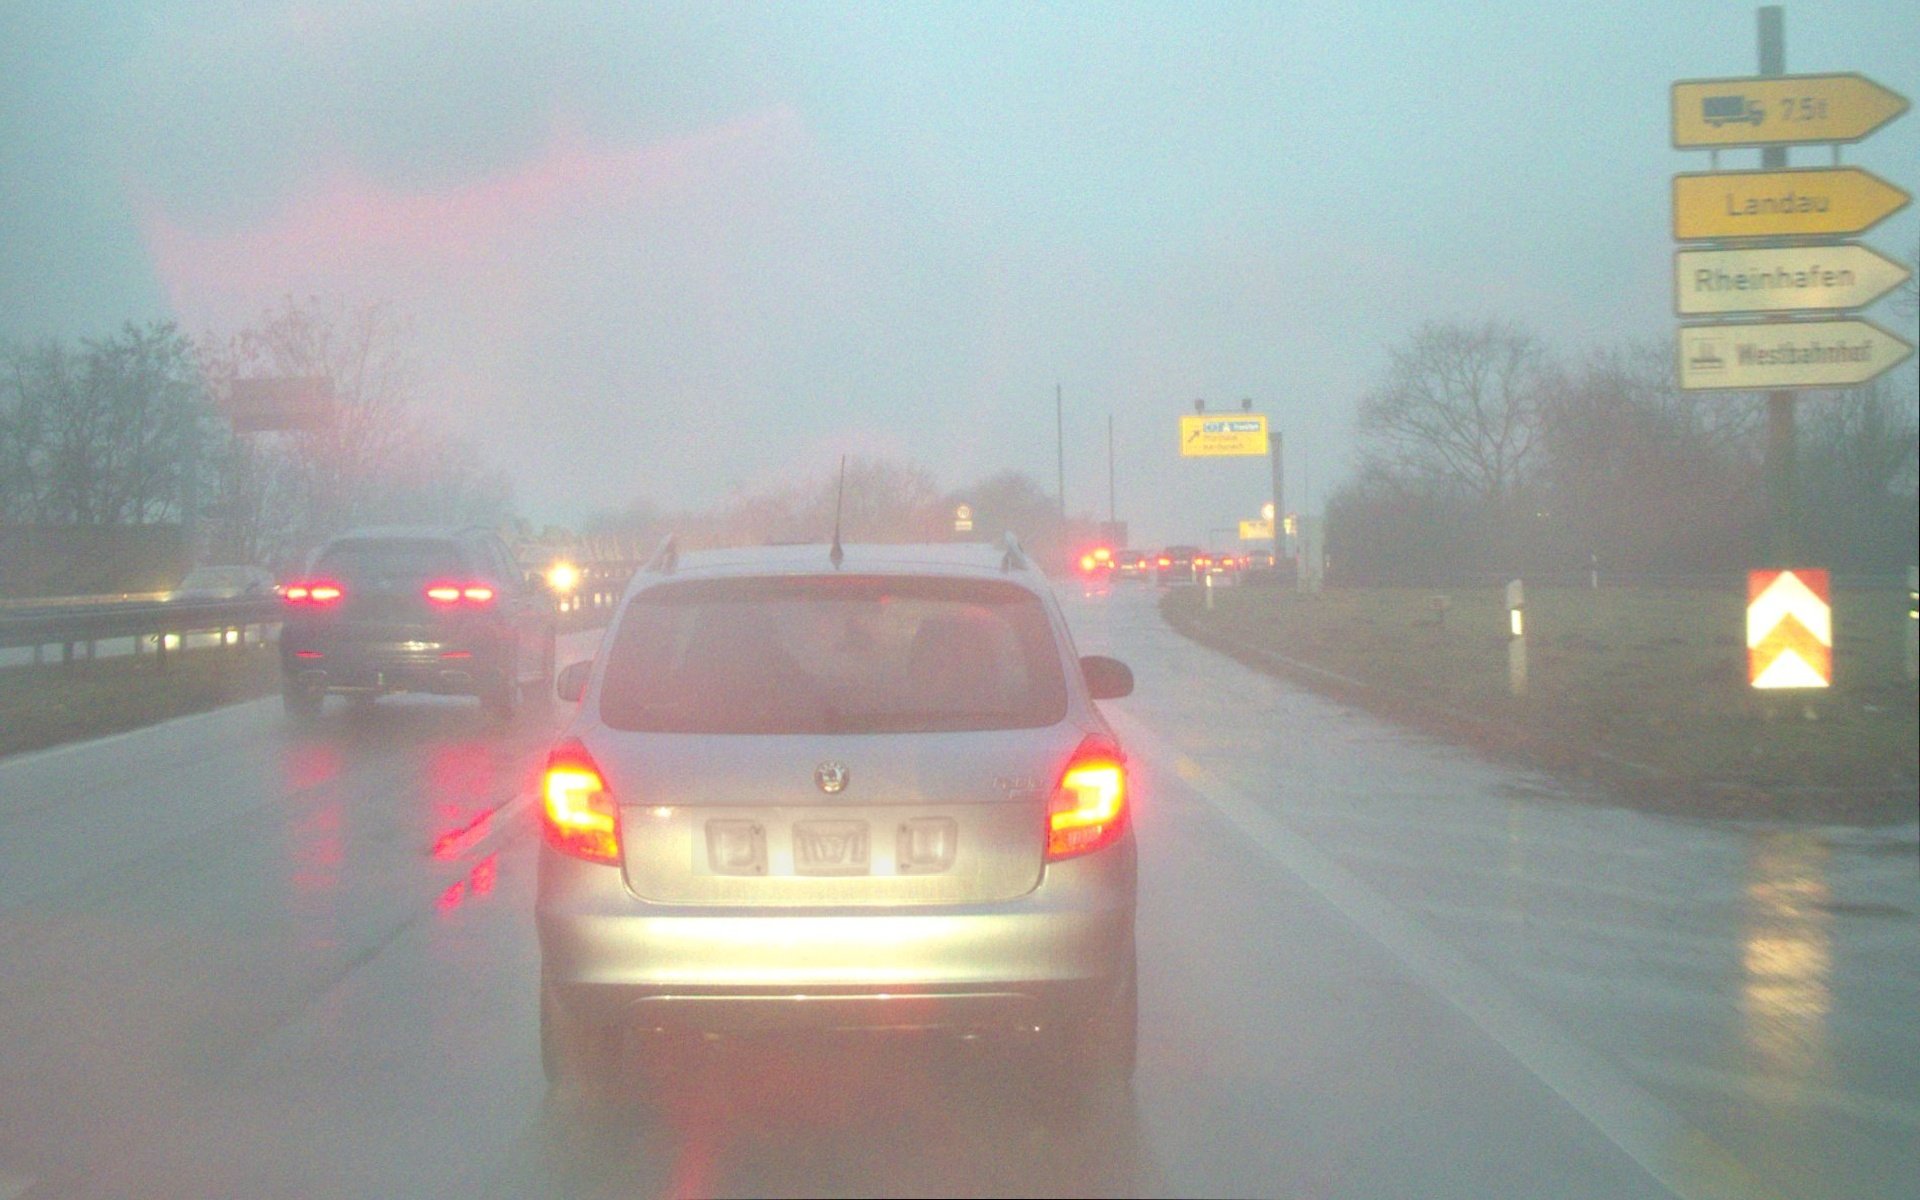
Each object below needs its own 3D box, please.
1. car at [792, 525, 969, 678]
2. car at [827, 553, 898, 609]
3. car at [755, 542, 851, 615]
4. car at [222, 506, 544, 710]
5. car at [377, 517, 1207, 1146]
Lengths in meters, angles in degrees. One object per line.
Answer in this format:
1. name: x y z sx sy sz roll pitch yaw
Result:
1. car: -0.926 -0.021 42.417 1.897 1.761 4.308 -1 1 2
2. car: -2.825 -0.568 100.438 1.789 1.540 4.000 -2 1 2
3. car: -3.456 -0.500 76.181 1.789 1.540 4.000 -1 1 2
4. car: -4.842 0.027 29.459 1.993 1.596 4.309 1 1 0
5. car: -0.335 0.545 10.431 1.993 1.495 4.137 -1 1 2
